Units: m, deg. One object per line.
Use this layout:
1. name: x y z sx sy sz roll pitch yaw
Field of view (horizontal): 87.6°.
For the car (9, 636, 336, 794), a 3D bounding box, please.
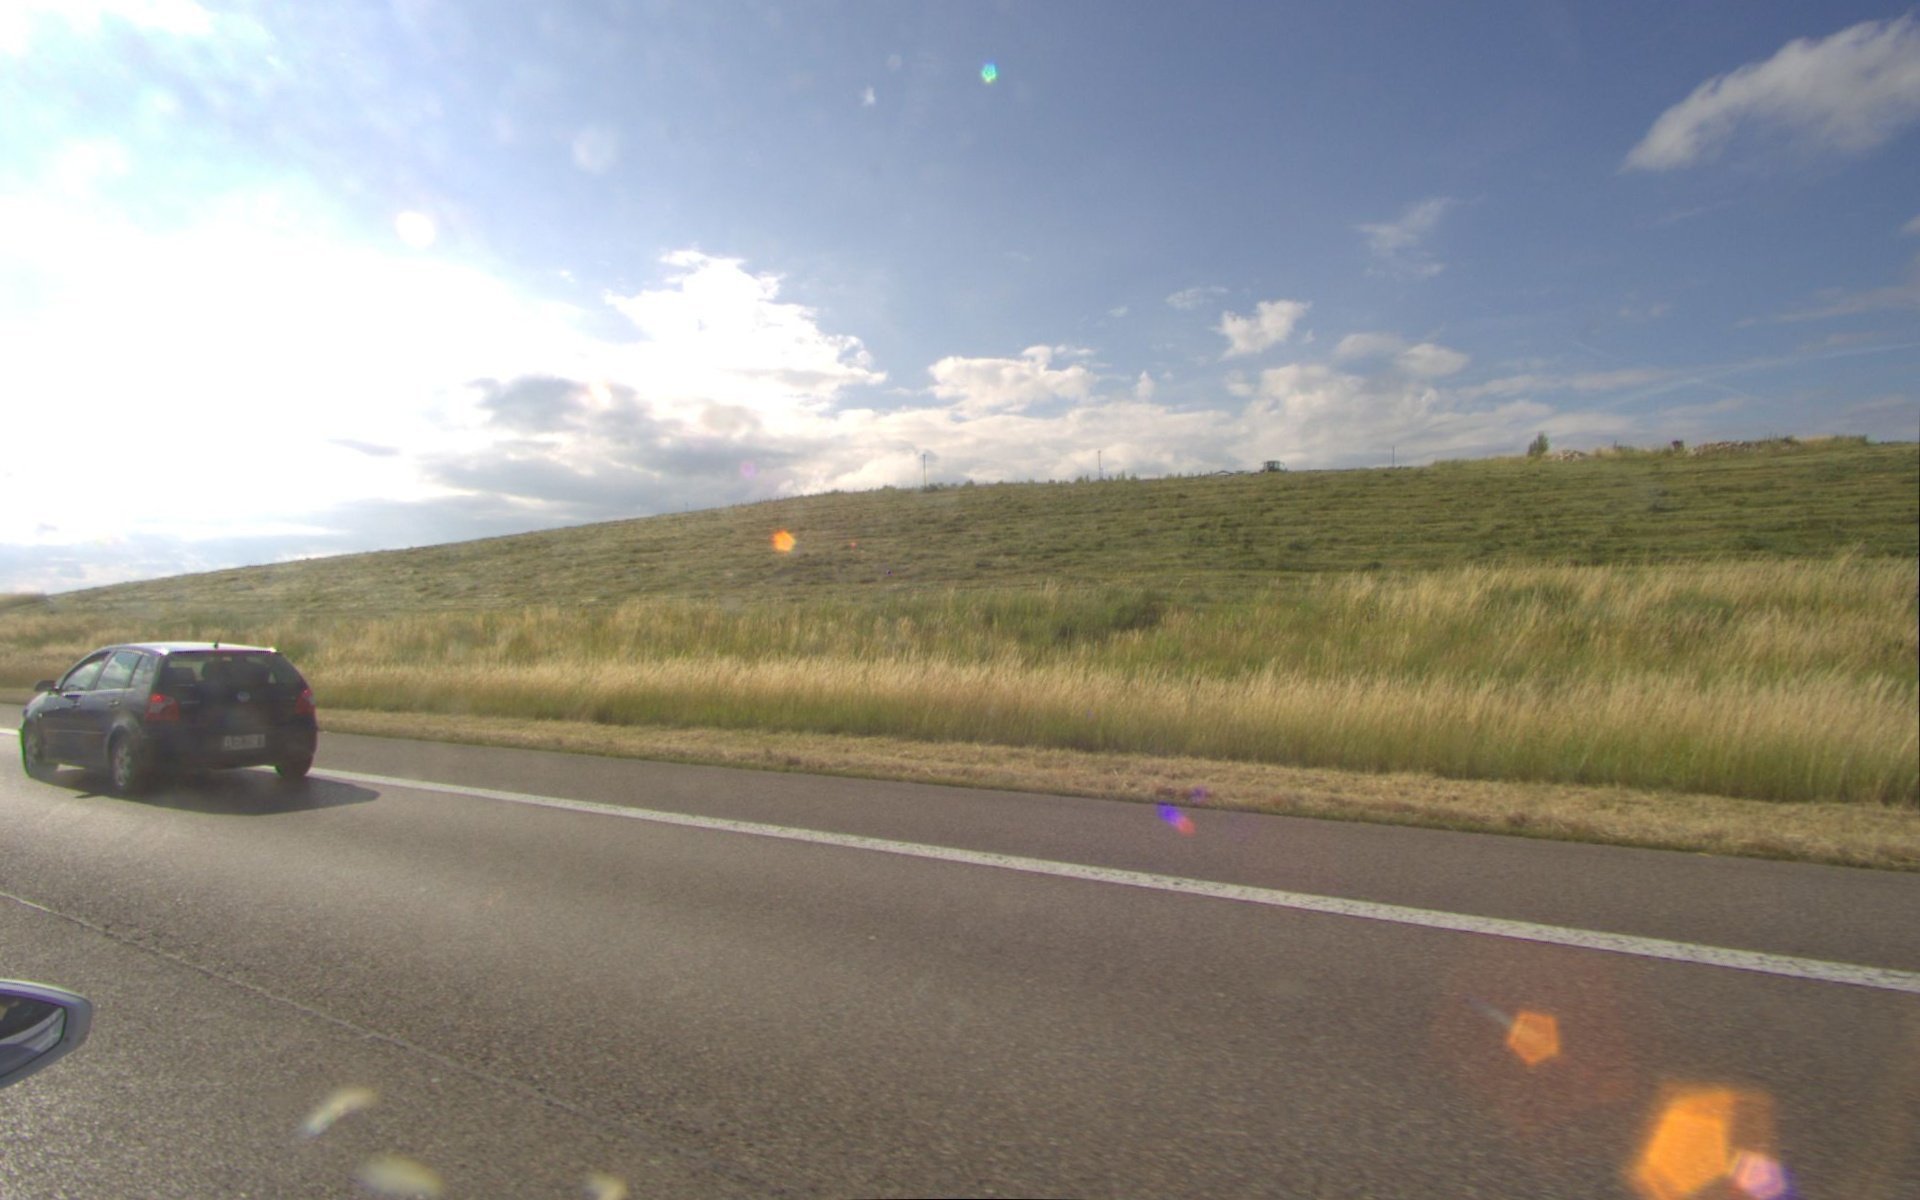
1. car: -8.524 1.123 10.790 3.619 1.438 1.603 -2 -2 31
